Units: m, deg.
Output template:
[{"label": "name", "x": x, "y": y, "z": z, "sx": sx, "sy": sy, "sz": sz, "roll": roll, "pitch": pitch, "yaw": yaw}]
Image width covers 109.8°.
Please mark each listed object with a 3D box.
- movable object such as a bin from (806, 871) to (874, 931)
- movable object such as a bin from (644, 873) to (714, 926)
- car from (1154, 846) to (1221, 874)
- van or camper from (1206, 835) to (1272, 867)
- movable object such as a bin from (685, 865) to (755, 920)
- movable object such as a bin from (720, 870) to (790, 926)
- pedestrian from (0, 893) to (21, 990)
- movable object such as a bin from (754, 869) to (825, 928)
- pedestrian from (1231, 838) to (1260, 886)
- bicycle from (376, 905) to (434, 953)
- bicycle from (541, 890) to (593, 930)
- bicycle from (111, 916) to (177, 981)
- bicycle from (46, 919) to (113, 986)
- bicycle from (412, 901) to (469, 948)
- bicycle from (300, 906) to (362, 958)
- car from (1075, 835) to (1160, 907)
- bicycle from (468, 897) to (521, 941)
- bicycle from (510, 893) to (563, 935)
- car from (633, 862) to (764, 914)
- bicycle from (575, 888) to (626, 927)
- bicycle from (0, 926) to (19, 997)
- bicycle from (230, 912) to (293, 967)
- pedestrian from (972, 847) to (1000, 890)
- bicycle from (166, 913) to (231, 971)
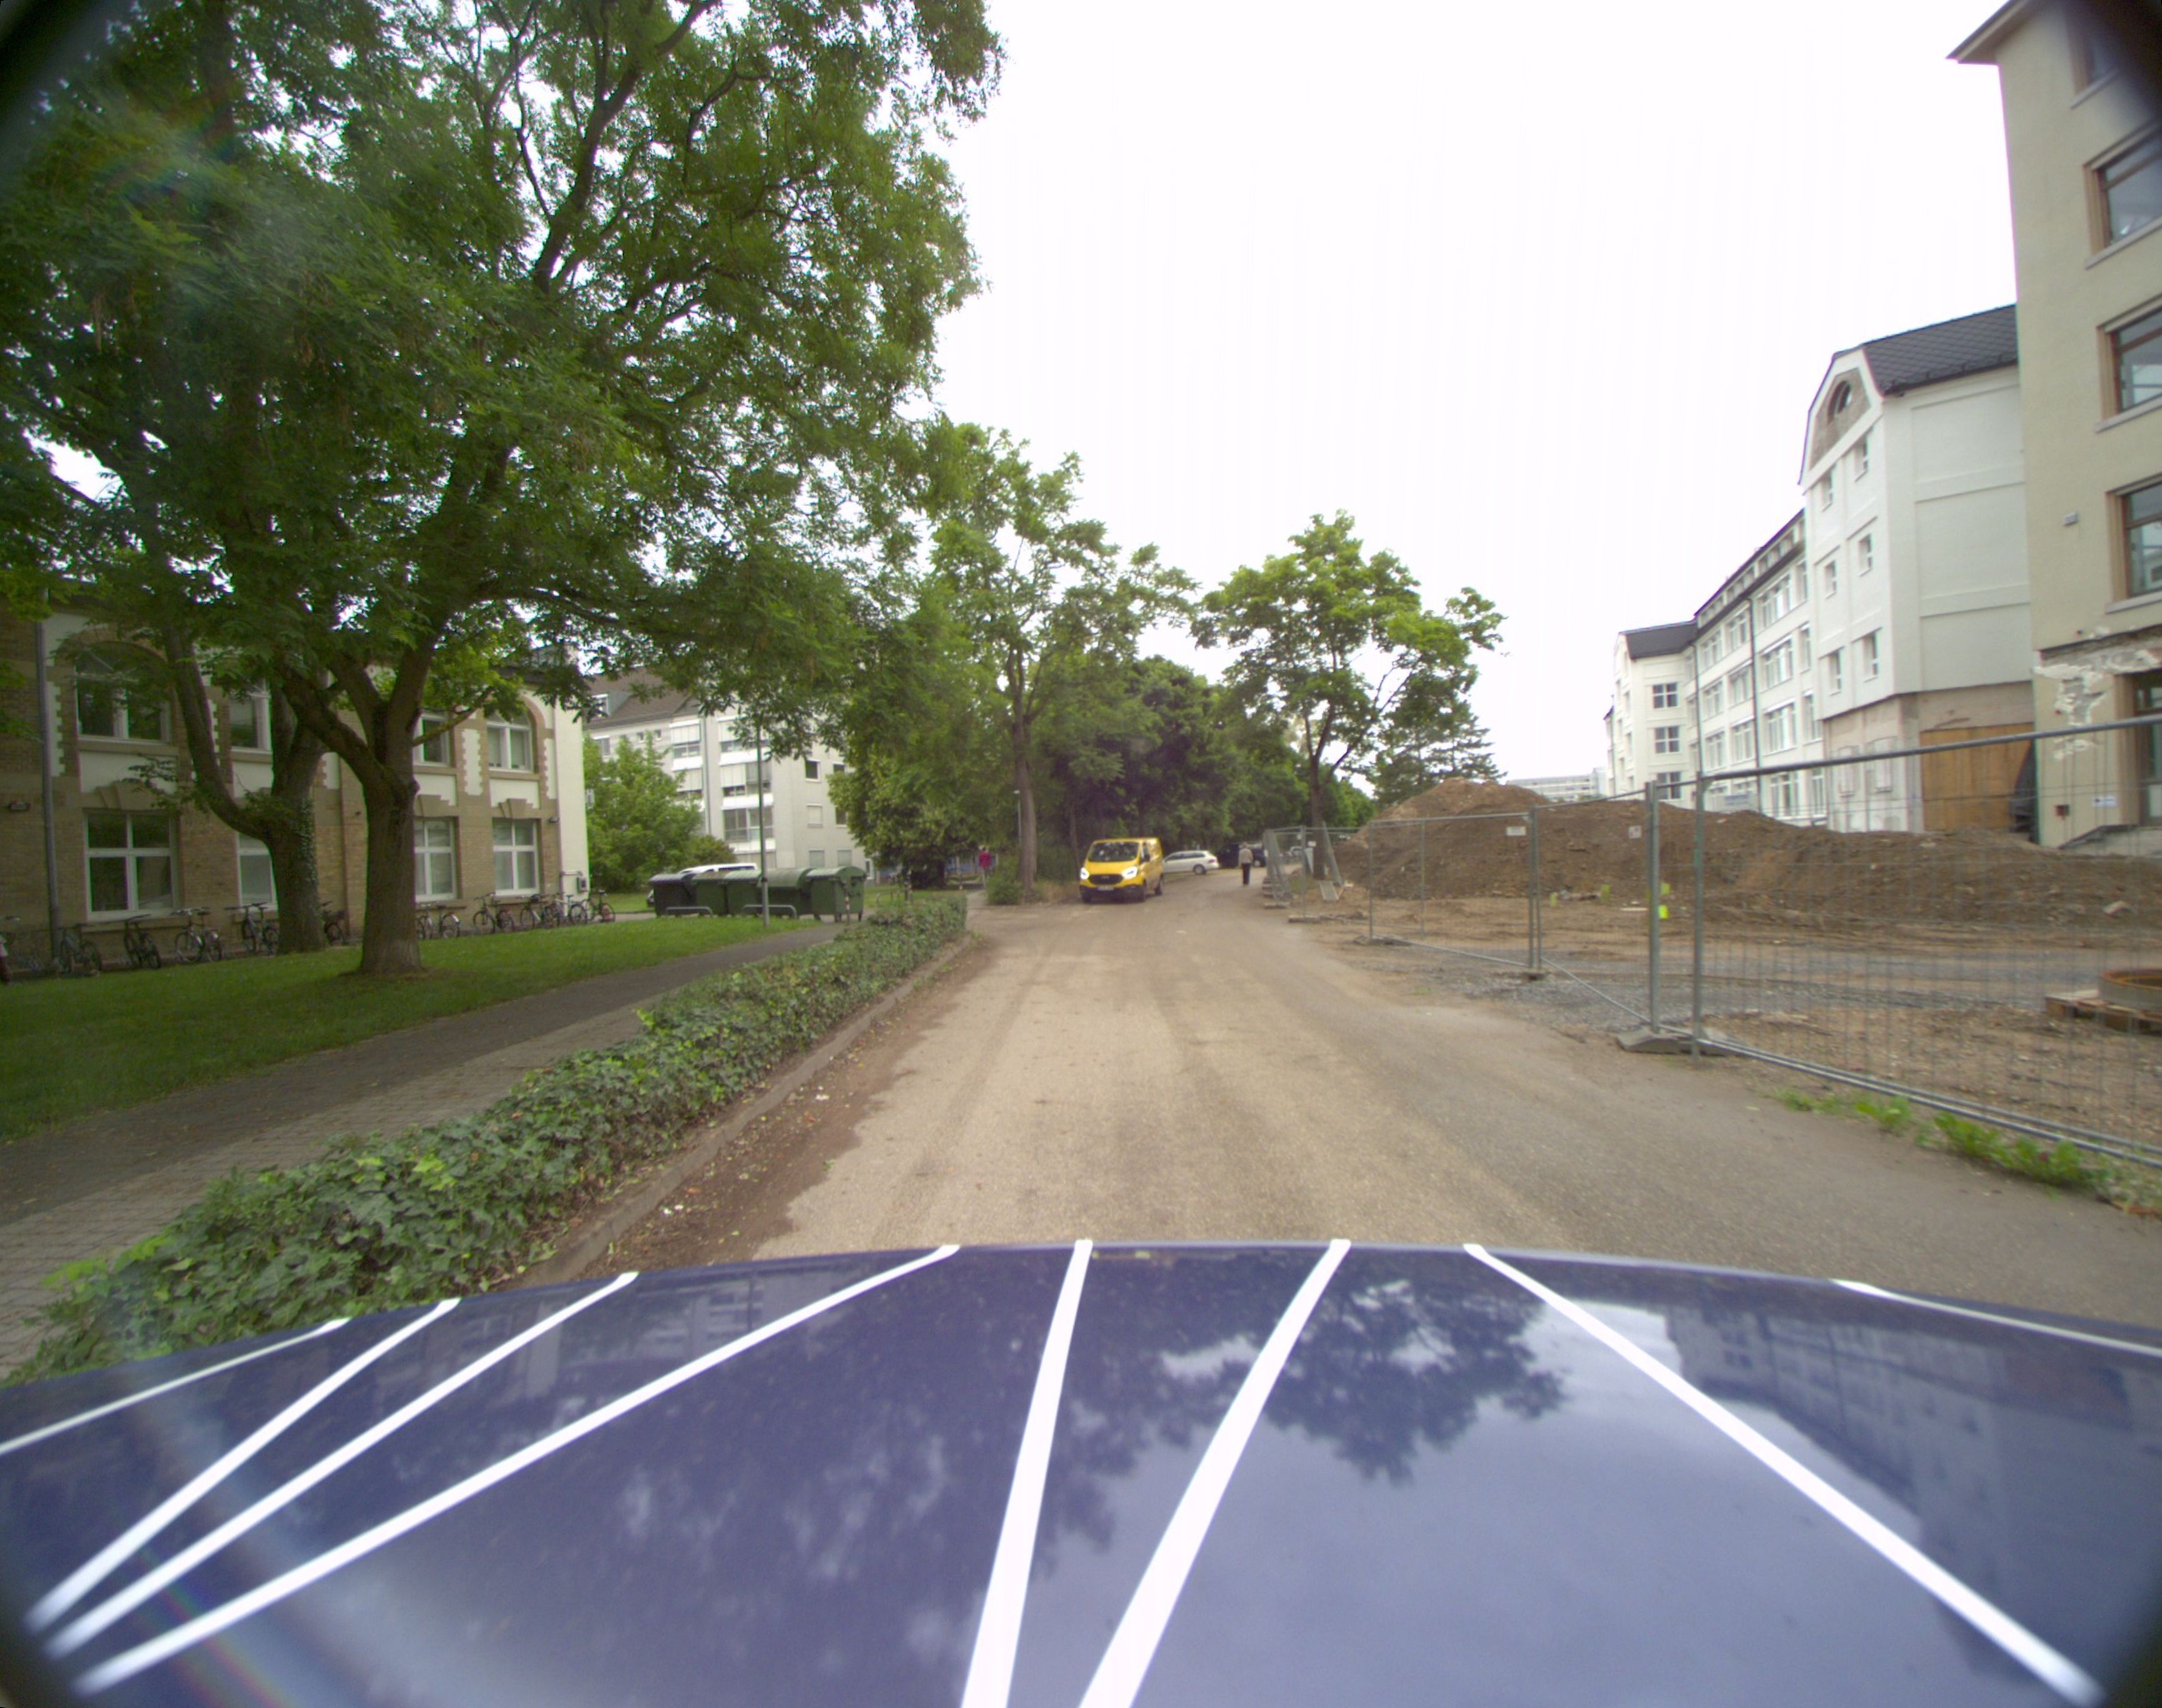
[{"label": "movable object such as a bin", "x": -6.236, "y": 1.199, "z": 19.662, "sx": 1.272, "sy": 1.426, "sz": 1.074, "roll": -2, "pitch": 1, "yaw": 36}, {"label": "movable object such as a bin", "x": -11.681, "y": 1.313, "z": 22.120, "sx": 1.359, "sy": 1.442, "sz": 1.110, "roll": -3, "pitch": 1, "yaw": 21}, {"label": "car", "x": 6.602, "y": 0.365, "z": 47.110, "sx": 3.879, "sy": 1.565, "sz": 1.754, "roll": -3, "pitch": 1, "yaw": 15}, {"label": "van or camper", "x": 12.179, "y": -0.230, "z": 58.524, "sx": 4.490, "sy": 2.245, "sz": 2.003, "roll": -2, "pitch": 1, "yaw": 27}, {"label": "movable object such as a bin", "x": -10.233, "y": 1.084, "z": 21.582, "sx": 1.324, "sy": 1.442, "sz": 1.110, "roll": -3, "pitch": 1, "yaw": 21}, {"label": "movable object such as a bin", "x": -8.974, "y": 1.209, "z": 20.947, "sx": 1.291, "sy": 1.442, "sz": 1.110, "roll": -3, "pitch": 1, "yaw": 23}, {"label": "pedestrian", "x": -18.010, "y": 1.451, "z": 12.425, "sx": 0.602, "sy": 1.578, "sz": 0.628, "roll": -2, "pitch": 1, "yaw": 26}, {"label": "movable object such as a bin", "x": -7.706, "y": 1.168, "z": 20.130, "sx": 1.283, "sy": 1.442, "sz": 1.110, "roll": -3, "pitch": 1, "yaw": 24}, {"label": "pedestrian", "x": 6.255, "y": 0.306, "z": 28.842, "sx": 0.752, "sy": 1.771, "sz": 0.662, "roll": -3, "pitch": 1, "yaw": -24}, {"label": "bicycle", "x": -16.646, "y": 1.838, "z": 18.700, "sx": 1.740, "sy": 1.108, "sz": 0.461, "roll": -2, "pitch": 0, "yaw": 28}, {"label": "bicycle", "x": -14.953, "y": 1.618, "z": 22.085, "sx": 1.740, "sy": 1.108, "sz": 0.461, "roll": -2, "pitch": 0, "yaw": 28}, {"label": "bicycle", "x": -18.401, "y": 1.835, "z": 14.917, "sx": 1.740, "sy": 1.108, "sz": 0.461, "roll": 0, "pitch": 2, "yaw": 28}, {"label": "bicycle", "x": -18.790, "y": 1.823, "z": 14.247, "sx": 1.740, "sy": 1.108, "sz": 0.461, "roll": -1, "pitch": 1, "yaw": 28}, {"label": "bicycle", "x": -16.333, "y": 1.790, "z": 19.366, "sx": 1.740, "sy": 1.108, "sz": 0.461, "roll": -2, "pitch": 0, "yaw": 28}, {"label": "bicycle", "x": -17.081, "y": 1.759, "z": 17.294, "sx": 1.740, "sy": 1.108, "sz": 0.461, "roll": -2, "pitch": 1, "yaw": 28}, {"label": "car", "x": 1.253, "y": 0.488, "z": 24.085, "sx": 2.122, "sy": 2.002, "sz": 4.003, "roll": -2, "pitch": 0, "yaw": 10}, {"label": "bicycle", "x": -15.771, "y": 1.732, "z": 20.408, "sx": 1.740, "sy": 1.108, "sz": 0.461, "roll": -2, "pitch": 0, "yaw": 30}, {"label": "bicycle", "x": -15.358, "y": 1.694, "z": 21.419, "sx": 1.740, "sy": 1.108, "sz": 0.461, "roll": -2, "pitch": 0, "yaw": 28}, {"label": "car", "x": -16.599, "y": 1.451, "z": 33.294, "sx": 1.897, "sy": 1.862, "sz": 4.781, "roll": -5, "pitch": -1, "yaw": 28}, {"label": "bicycle", "x": -14.536, "y": 1.617, "z": 22.981, "sx": 1.740, "sy": 1.108, "sz": 0.461, "roll": -3, "pitch": 0, "yaw": 28}, {"label": "bicycle", "x": -19.067, "y": 1.849, "z": 13.204, "sx": 1.740, "sy": 1.108, "sz": 0.461, "roll": 1, "pitch": 2, "yaw": 28}, {"label": "bicycle", "x": -17.757, "y": 1.823, "z": 16.449, "sx": 1.740, "sy": 1.108, "sz": 0.461, "roll": -2, "pitch": 0, "yaw": 28}, {"label": "pedestrian", "x": -4.661, "y": 0.720, "z": 37.302, "sx": 0.793, "sy": 2.052, "sz": 1.203, "roll": -2, "pitch": 1, "yaw": 22}, {"label": "bicycle", "x": -18.171, "y": 1.797, "z": 15.640, "sx": 1.740, "sy": 1.108, "sz": 0.461, "roll": -2, "pitch": 0, "yaw": 28}]
